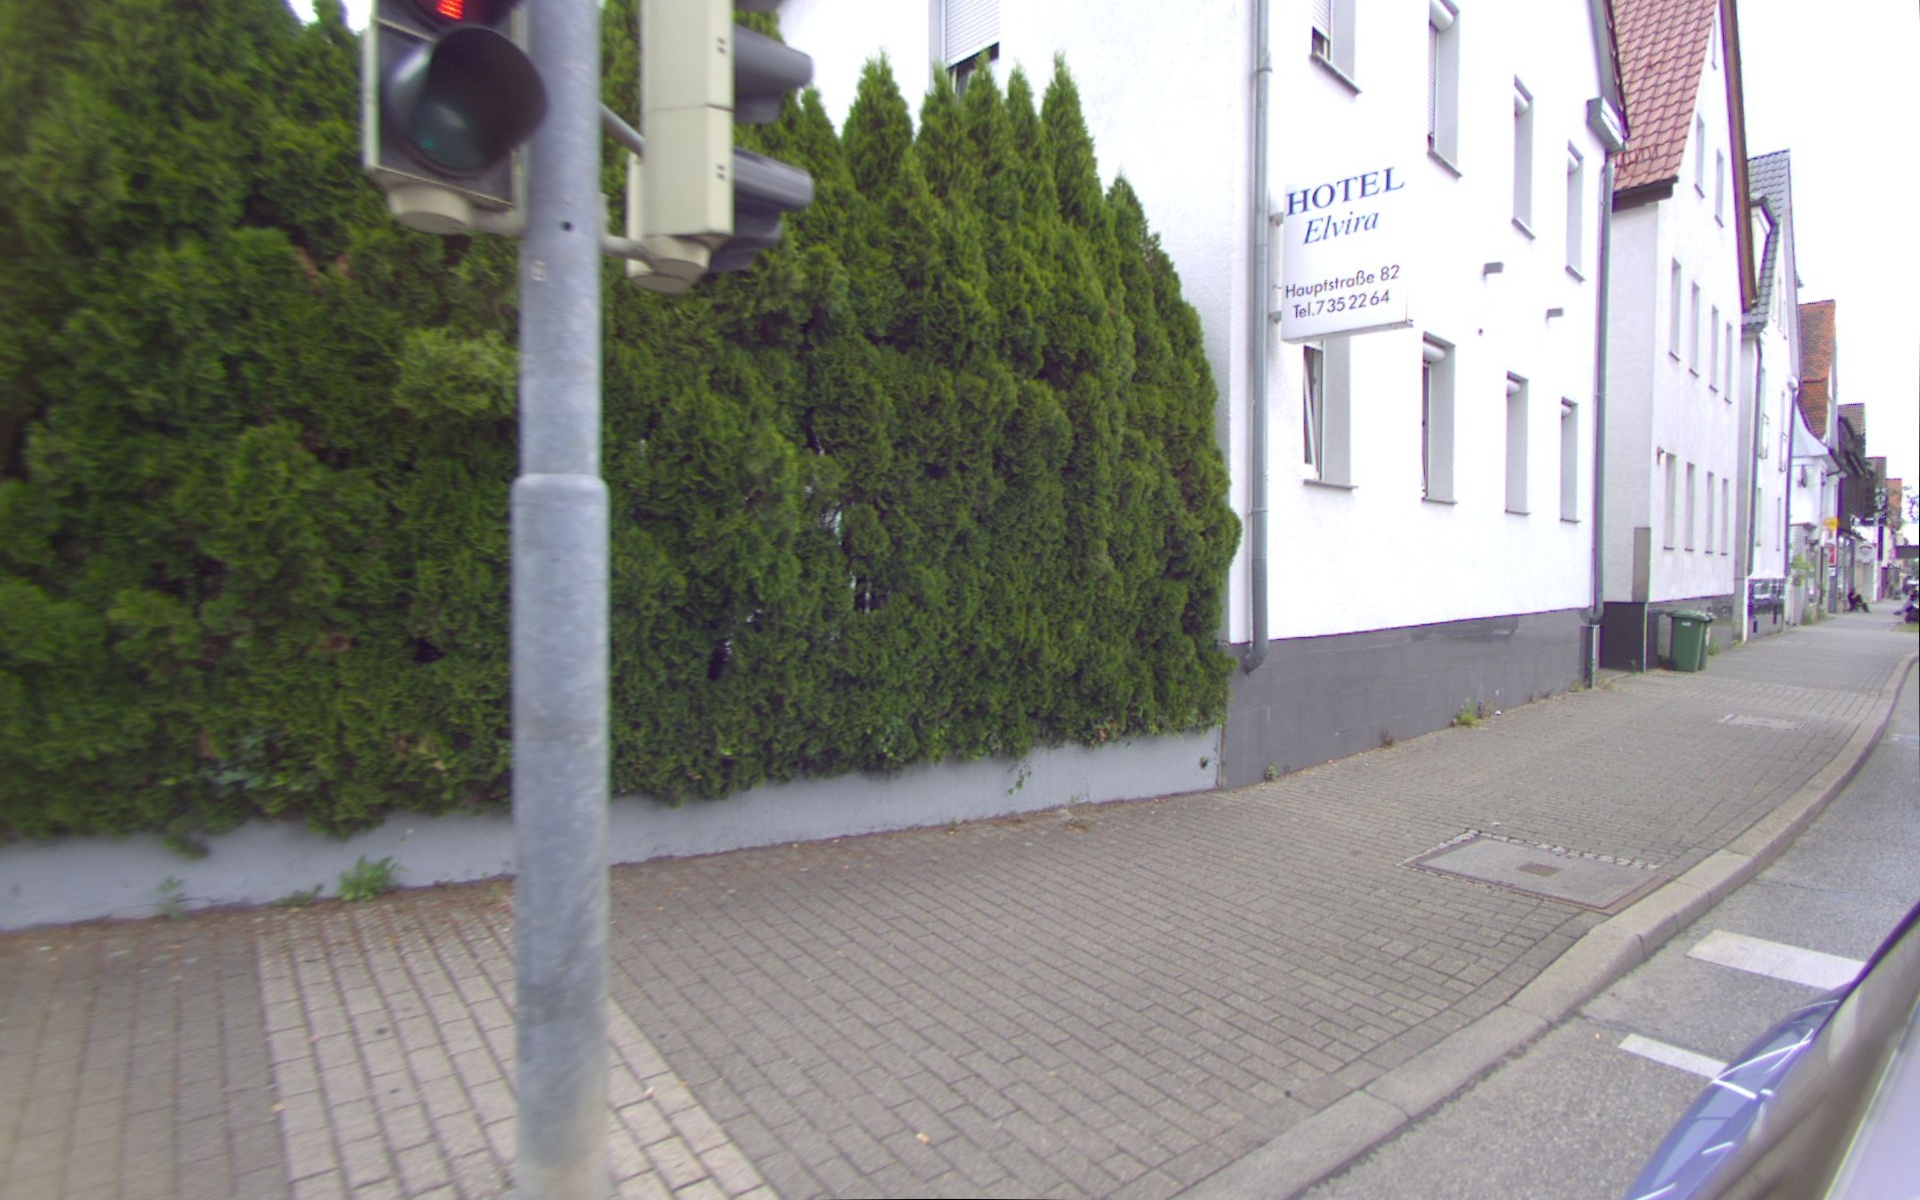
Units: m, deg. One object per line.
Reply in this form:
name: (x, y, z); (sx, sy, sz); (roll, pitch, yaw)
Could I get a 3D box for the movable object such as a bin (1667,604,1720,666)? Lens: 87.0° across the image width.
movable object such as a bin: (11.456, 0.536, 15.808); (0.510, 0.914, 0.565); (-1, 3, -43)

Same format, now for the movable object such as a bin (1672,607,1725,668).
movable object such as a bin: (11.789, 0.591, 16.157); (0.510, 0.914, 0.565); (-1, 3, -43)

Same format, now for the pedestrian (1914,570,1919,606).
pedestrian: (48.536, -0.603, 51.055); (0.444, 1.775, 0.497); (0, 2, -43)

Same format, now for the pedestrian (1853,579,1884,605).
pedestrian: (46.848, -0.405, 52.198); (0.653, 1.295, 0.985); (0, 2, -32)
